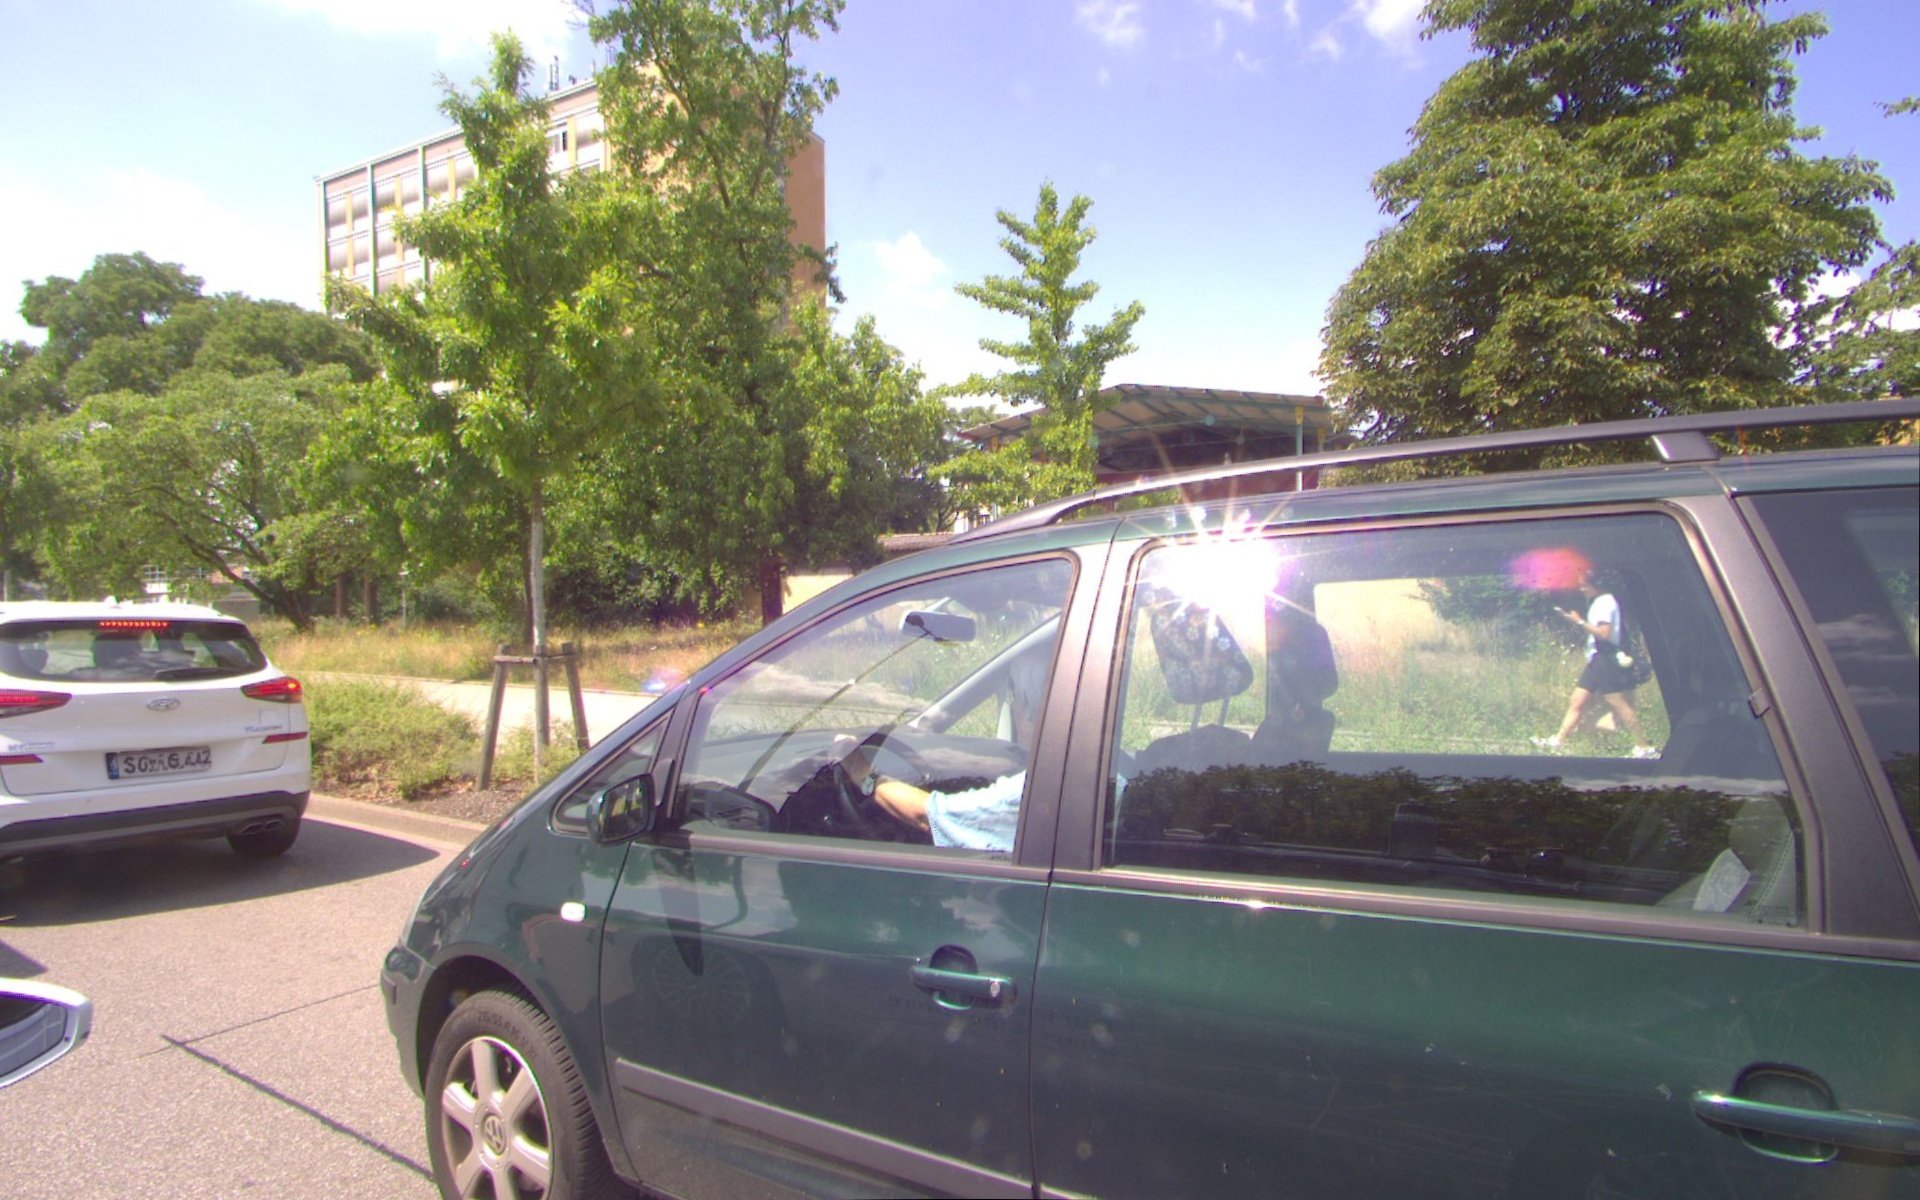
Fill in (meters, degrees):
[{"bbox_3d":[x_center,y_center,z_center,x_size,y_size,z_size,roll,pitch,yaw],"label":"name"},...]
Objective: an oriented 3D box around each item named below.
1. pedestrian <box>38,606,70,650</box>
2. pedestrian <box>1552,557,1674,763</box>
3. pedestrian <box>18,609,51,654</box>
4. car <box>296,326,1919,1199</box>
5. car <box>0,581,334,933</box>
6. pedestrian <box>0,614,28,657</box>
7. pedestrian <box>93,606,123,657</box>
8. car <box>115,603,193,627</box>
[{"bbox_3d":[-39.434,1.201,43.573,0.803,1.874,0.759,0,1,24],"label":"pedestrian"},{"bbox_3d":[5.343,0.463,8.225,0.804,1.578,0.757,0,1,33],"label":"pedestrian"},{"bbox_3d":[-39.442,1.332,42.679,0.802,1.874,0.759,0,1,22],"label":"pedestrian"},{"bbox_3d":[0.551,0.636,2.284,4.329,1.737,1.799,0,-2,32],"label":"car"},{"bbox_3d":[-5.929,0.773,6.428,3.919,1.700,1.810,0,0,34],"label":"car"},{"bbox_3d":[-37.727,1.391,39.856,0.805,1.677,0.756,0,1,36],"label":"pedestrian"},{"bbox_3d":[-31.904,1.163,37.495,0.807,1.874,0.754,0,1,43],"label":"pedestrian"},{"bbox_3d":[-96.257,1.873,119.714,2.452,2.751,7.073,-1,-2,20],"label":"car"}]
